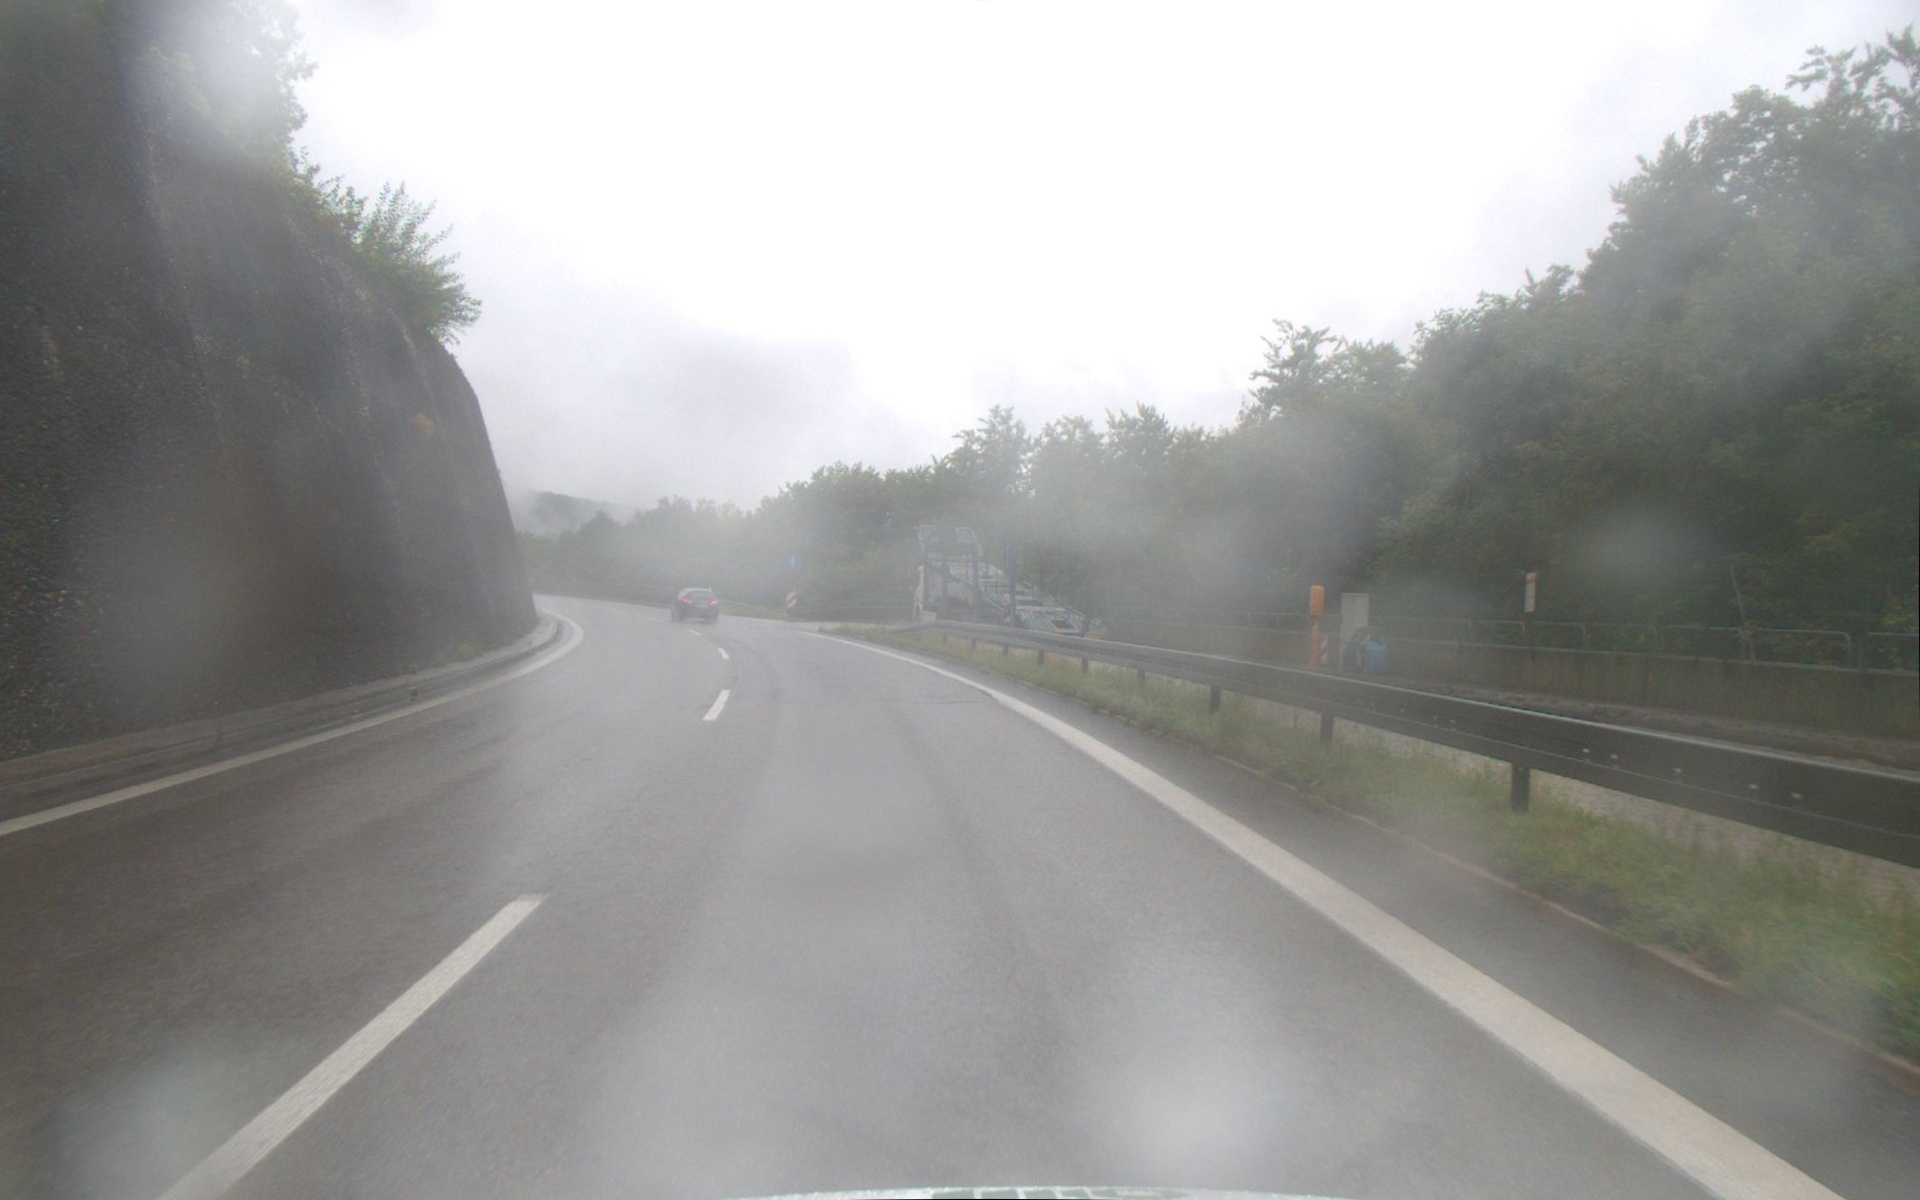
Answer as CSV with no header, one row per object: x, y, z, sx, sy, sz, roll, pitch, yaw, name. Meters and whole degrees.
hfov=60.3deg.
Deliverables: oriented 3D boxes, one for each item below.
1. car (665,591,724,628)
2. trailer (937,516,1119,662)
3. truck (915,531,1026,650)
-12.029,0.432,74.693,1.876,1.525,3.976,2,0,-20,car
1.924,-0.335,56.167,2.840,4.319,14.657,1,0,-11,trailer
0.307,-0.351,64.080,2.846,4.319,6.859,1,0,-13,truck
